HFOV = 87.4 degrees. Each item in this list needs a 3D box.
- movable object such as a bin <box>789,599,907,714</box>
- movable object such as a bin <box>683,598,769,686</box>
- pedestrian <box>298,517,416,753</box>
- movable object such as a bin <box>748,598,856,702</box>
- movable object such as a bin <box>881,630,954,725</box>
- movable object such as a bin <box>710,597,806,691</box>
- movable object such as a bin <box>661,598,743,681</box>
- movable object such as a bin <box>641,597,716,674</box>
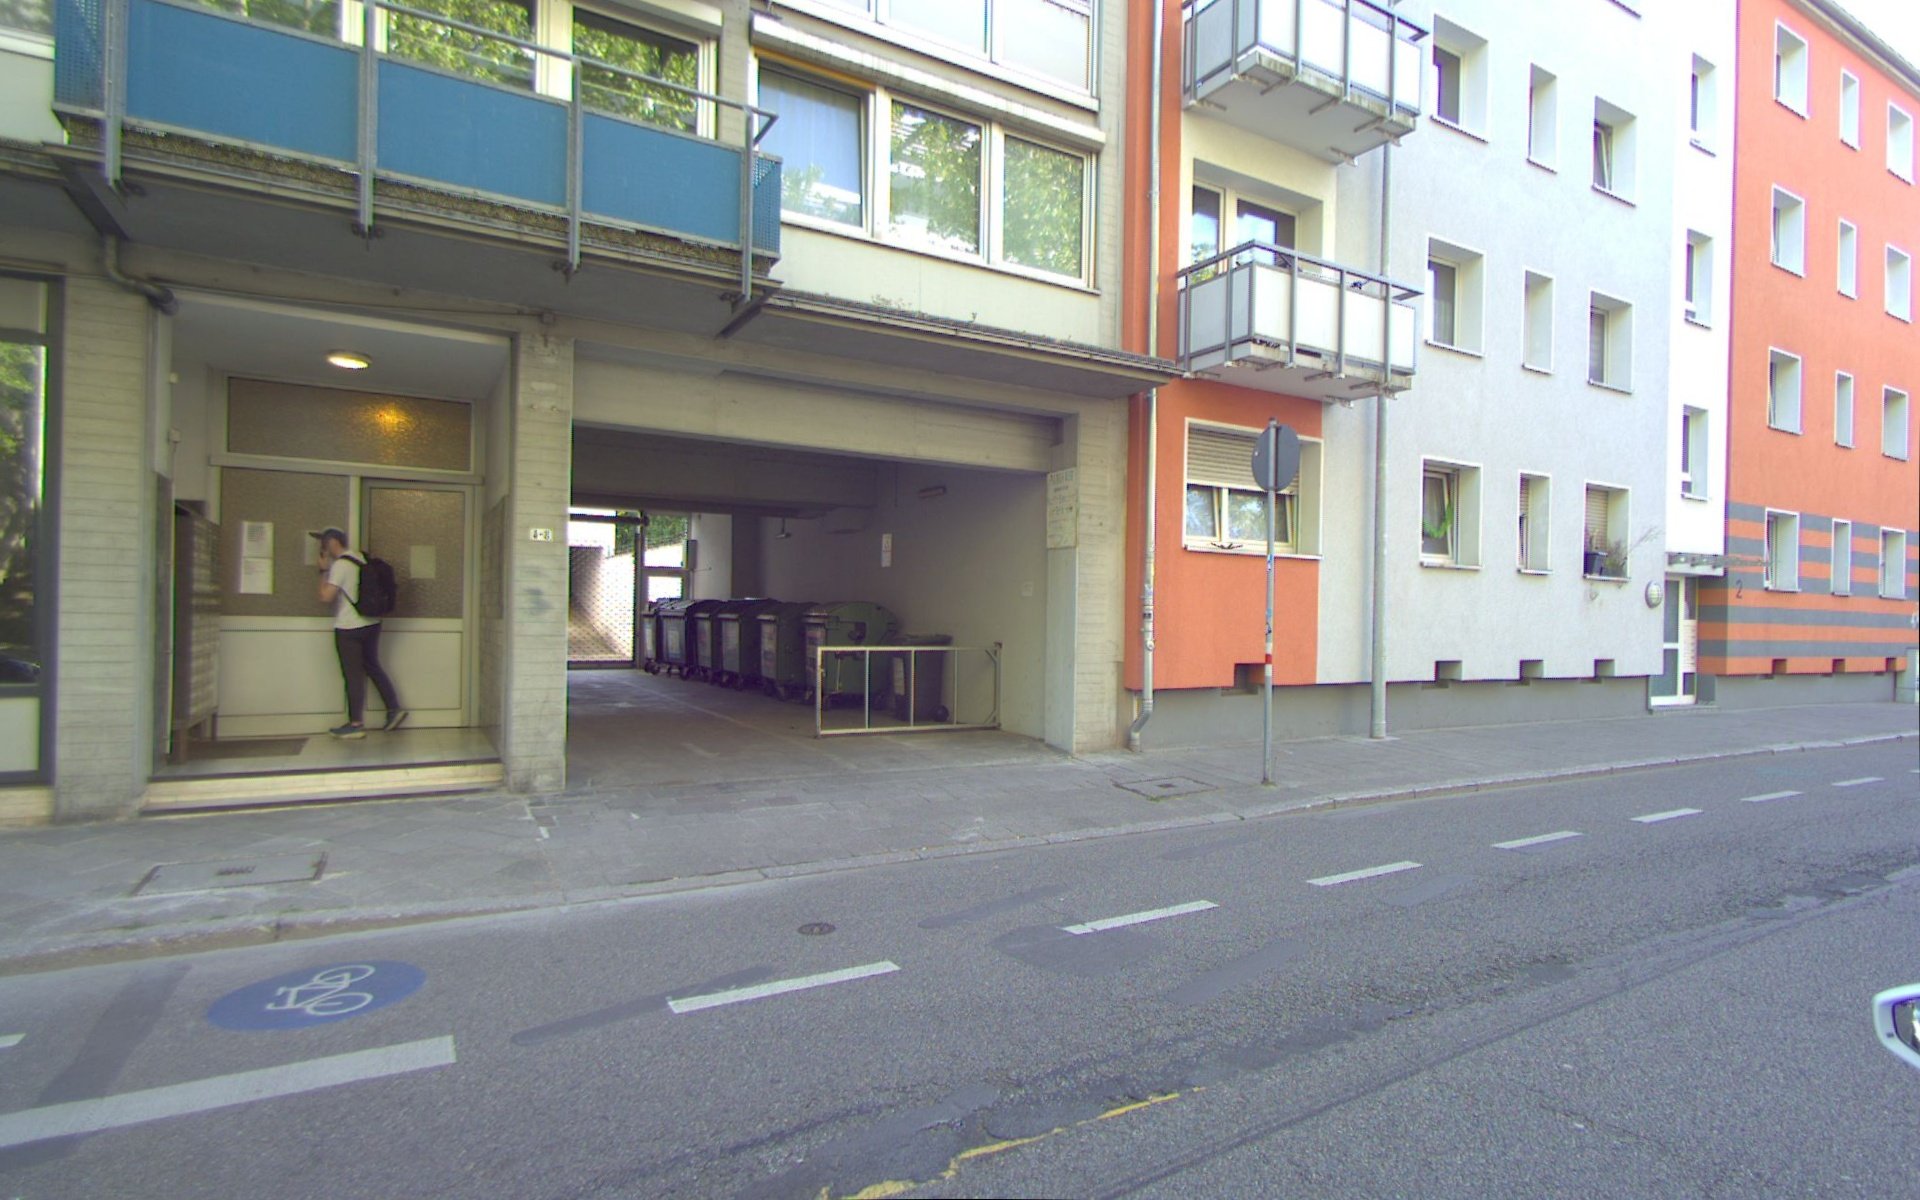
[{"bbox_3d":[-1.552,0.745,13.805,1.159,1.467,1.319,2,0,-30],"label":"movable object such as a bin"},{"bbox_3d":[-4.130,0.725,17.713,1.186,1.467,1.114,2,0,-30],"label":"movable object such as a bin"},{"bbox_3d":[-5.159,0.291,8.593,0.779,1.904,0.576,2,0,-36],"label":"pedestrian"},{"bbox_3d":[-2.392,0.726,15.138,1.186,1.467,1.319,2,0,-30],"label":"movable object such as a bin"},{"bbox_3d":[-0.524,0.945,12.413,0.745,1.116,0.463,2,0,-30],"label":"movable object such as a bin"},{"bbox_3d":[-3.359,0.704,16.622,1.186,1.467,1.319,2,0,-30],"label":"movable object such as a bin"},{"bbox_3d":[-4.829,0.727,18.755,1.186,1.467,1.222,2,0,-30],"label":"movable object such as a bin"},{"bbox_3d":[-5.605,0.691,19.985,1.186,1.467,1.027,2,0,-30],"label":"movable object such as a bin"}]
